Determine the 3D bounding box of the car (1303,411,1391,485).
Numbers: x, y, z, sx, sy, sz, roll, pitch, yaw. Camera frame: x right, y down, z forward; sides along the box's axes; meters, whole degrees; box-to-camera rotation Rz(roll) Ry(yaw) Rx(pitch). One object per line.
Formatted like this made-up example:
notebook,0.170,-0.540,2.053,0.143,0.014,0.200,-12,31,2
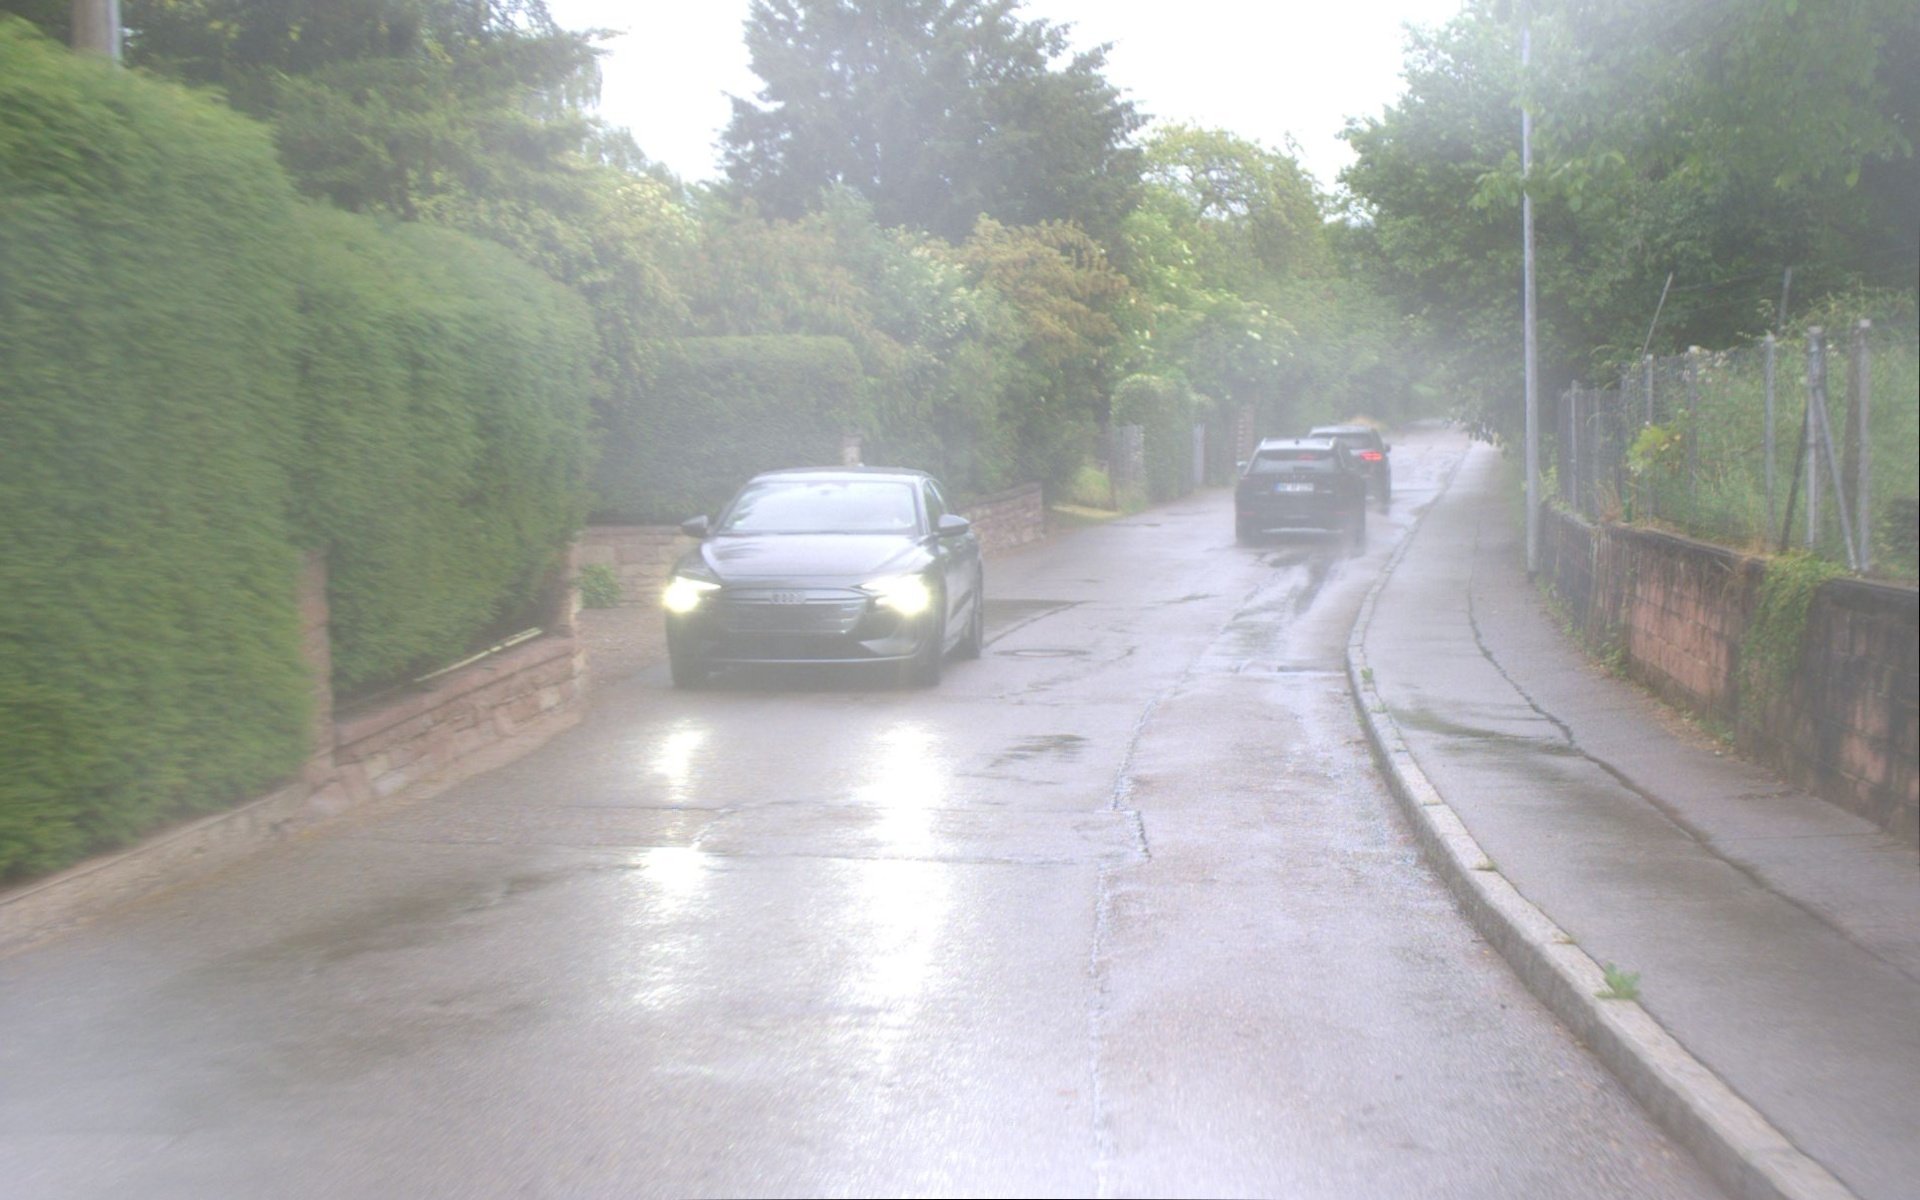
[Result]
car,7.641,-2.987,67.671,1.635,1.409,3.544,1,2,8

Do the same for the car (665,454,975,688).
car,-0.938,-0.291,25.357,1.889,1.518,4.422,1,3,3

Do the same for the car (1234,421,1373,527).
car,4.961,-1.821,49.387,1.635,1.445,3.543,1,2,11
